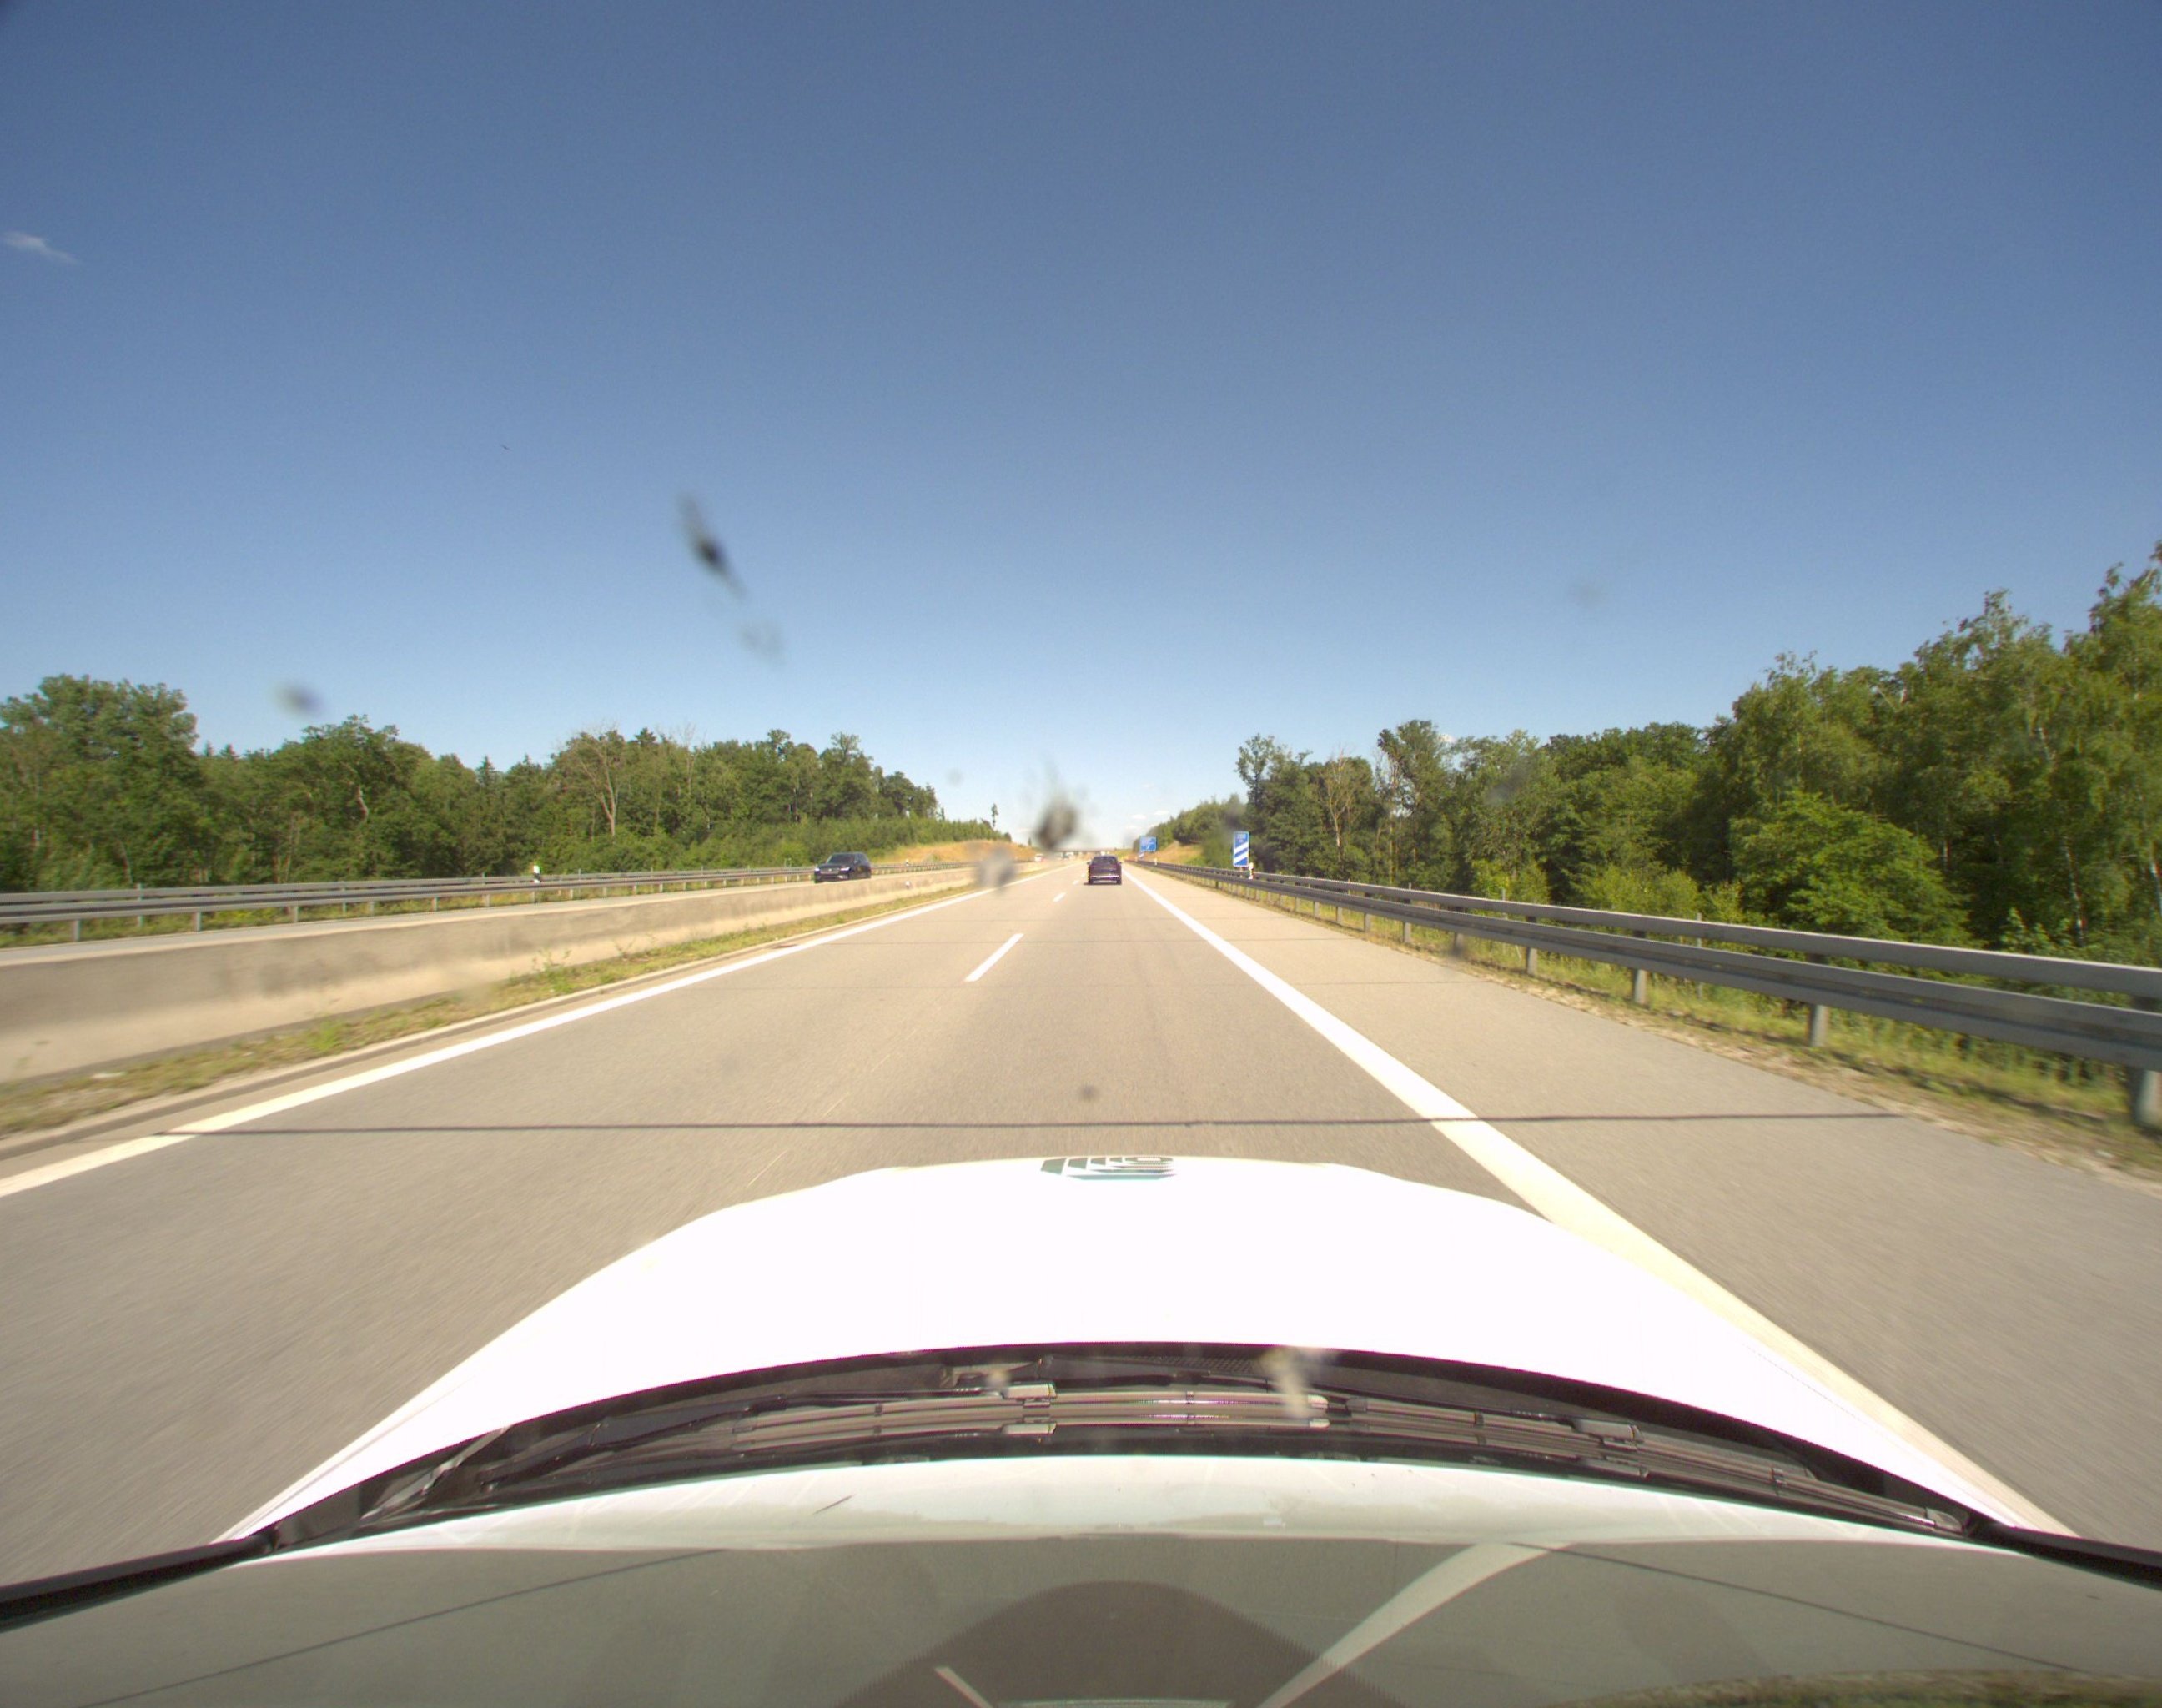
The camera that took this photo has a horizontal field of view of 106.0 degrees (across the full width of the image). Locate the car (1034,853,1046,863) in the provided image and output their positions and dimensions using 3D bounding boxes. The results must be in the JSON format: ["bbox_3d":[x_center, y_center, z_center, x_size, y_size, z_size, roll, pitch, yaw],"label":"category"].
[{"bbox_3d":[-9.115,0.906,181.313,1.986,2.083,6.230,0,0,2],"label":"car"}]

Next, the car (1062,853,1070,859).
[{"bbox_3d":[-4.161,0.502,224.891,1.986,1.581,4.651,0,0,2],"label":"car"}]

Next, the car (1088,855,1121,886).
[{"bbox_3d":[1.307,0.848,45.169,1.715,1.587,5.224,0,0,2],"label":"car"}]

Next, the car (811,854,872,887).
[{"bbox_3d":[-12.729,0.846,43.638,1.894,1.691,4.270,0,0,1],"label":"car"}]
